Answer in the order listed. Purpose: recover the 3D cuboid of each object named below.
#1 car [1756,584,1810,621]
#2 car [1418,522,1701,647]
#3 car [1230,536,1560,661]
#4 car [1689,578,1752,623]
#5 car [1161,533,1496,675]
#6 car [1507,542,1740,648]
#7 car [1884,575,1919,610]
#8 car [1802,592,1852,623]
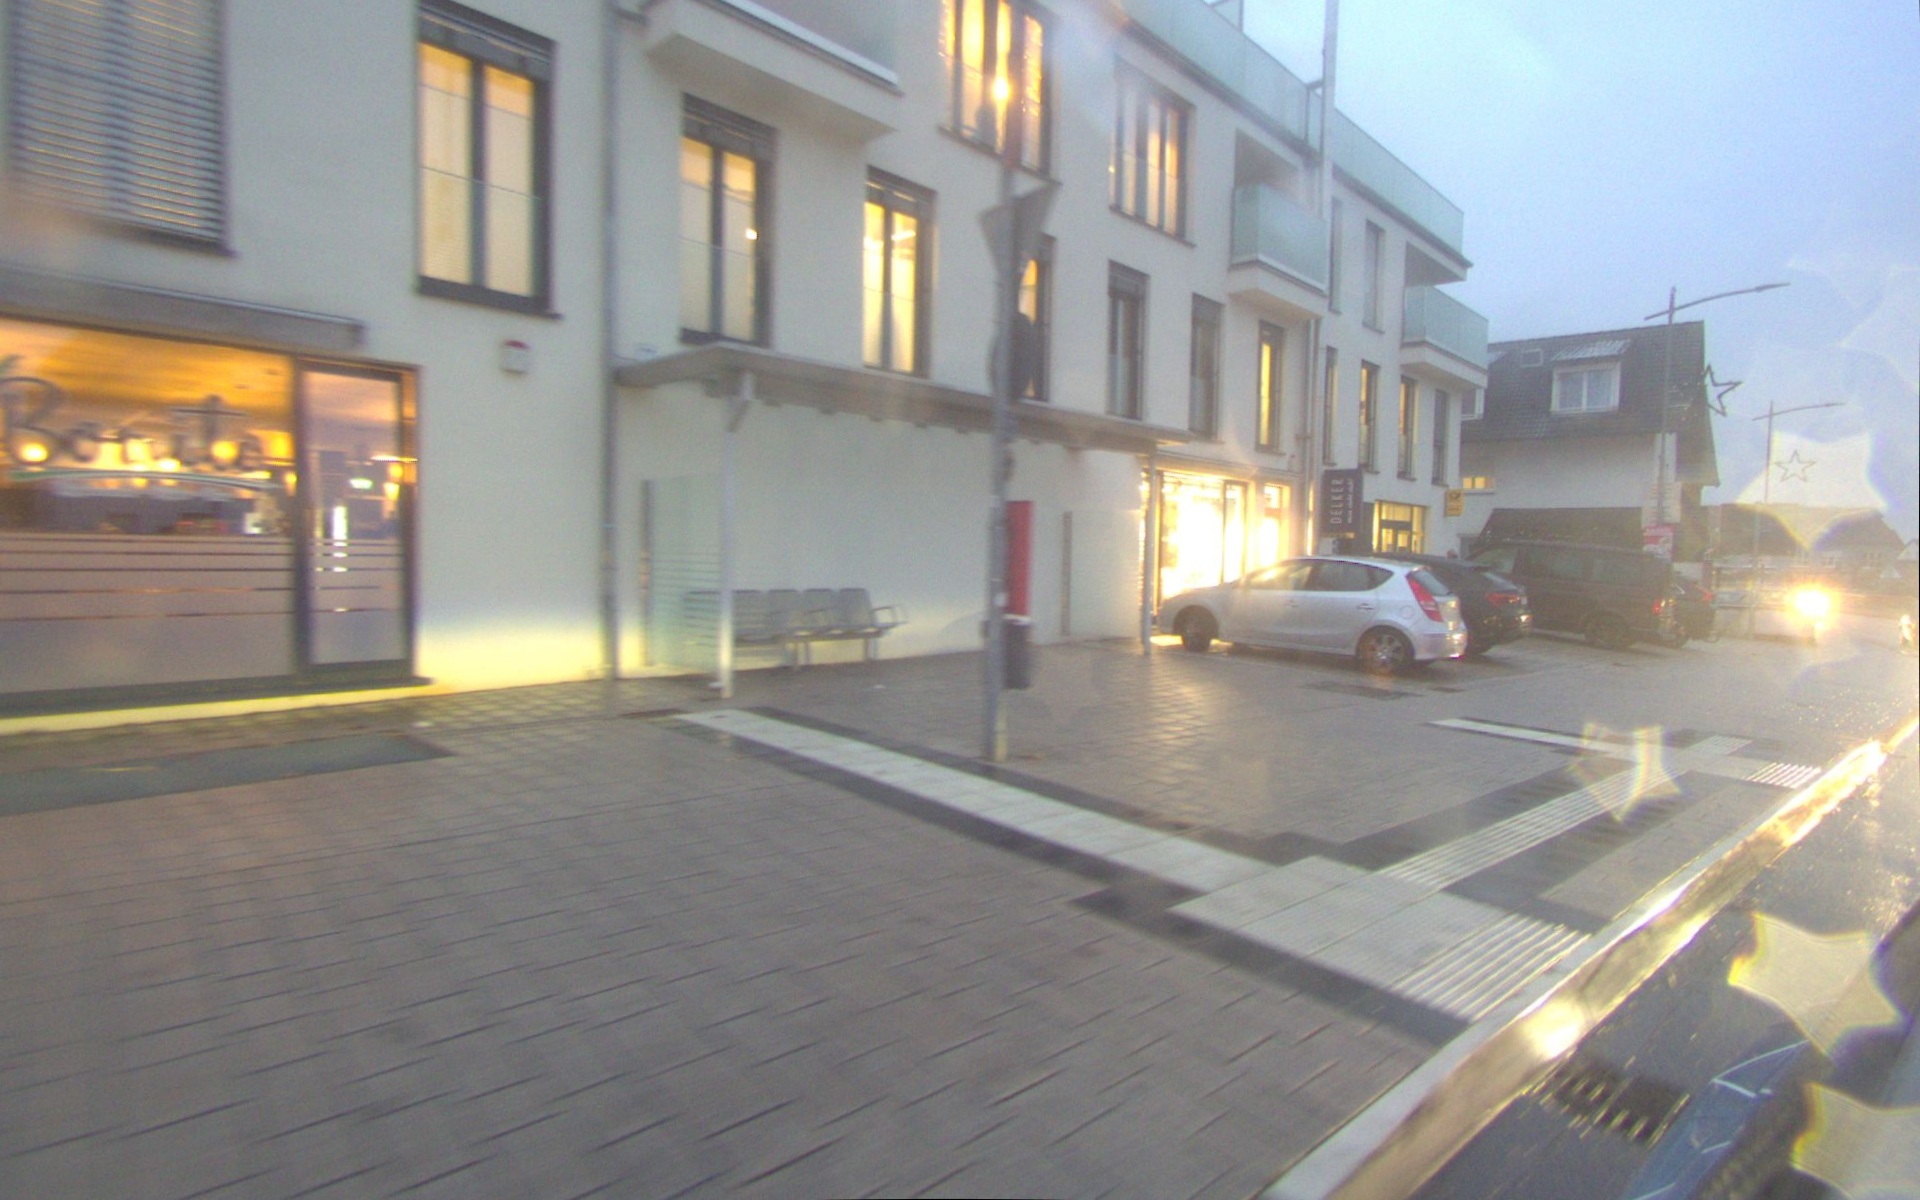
[{"bbox_3d":[38.488,0.104,47.350,1.841,1.606,3.715,3,2,39],"label":"car"},{"bbox_3d":[12.211,-0.405,20.838,4.544,1.956,1.944,10,7,43],"label":"car"},{"bbox_3d":[6.965,-0.131,16.521,4.509,1.509,1.945,8,6,42],"label":"car"},{"bbox_3d":[29.206,0.008,38.853,1.769,1.515,3.726,5,3,38],"label":"car"},{"bbox_3d":[5.060,-0.051,14.146,3.980,1.521,1.790,6,5,37],"label":"car"},{"bbox_3d":[15.096,-0.181,23.141,4.137,1.653,1.731,13,8,38],"label":"car"},{"bbox_3d":[56.950,-0.471,60.154,1.981,2.038,3.962,1,2,28],"label":"car"},{"bbox_3d":[47.472,0.384,55.463,1.825,1.563,3.665,1,1,37],"label":"car"}]
